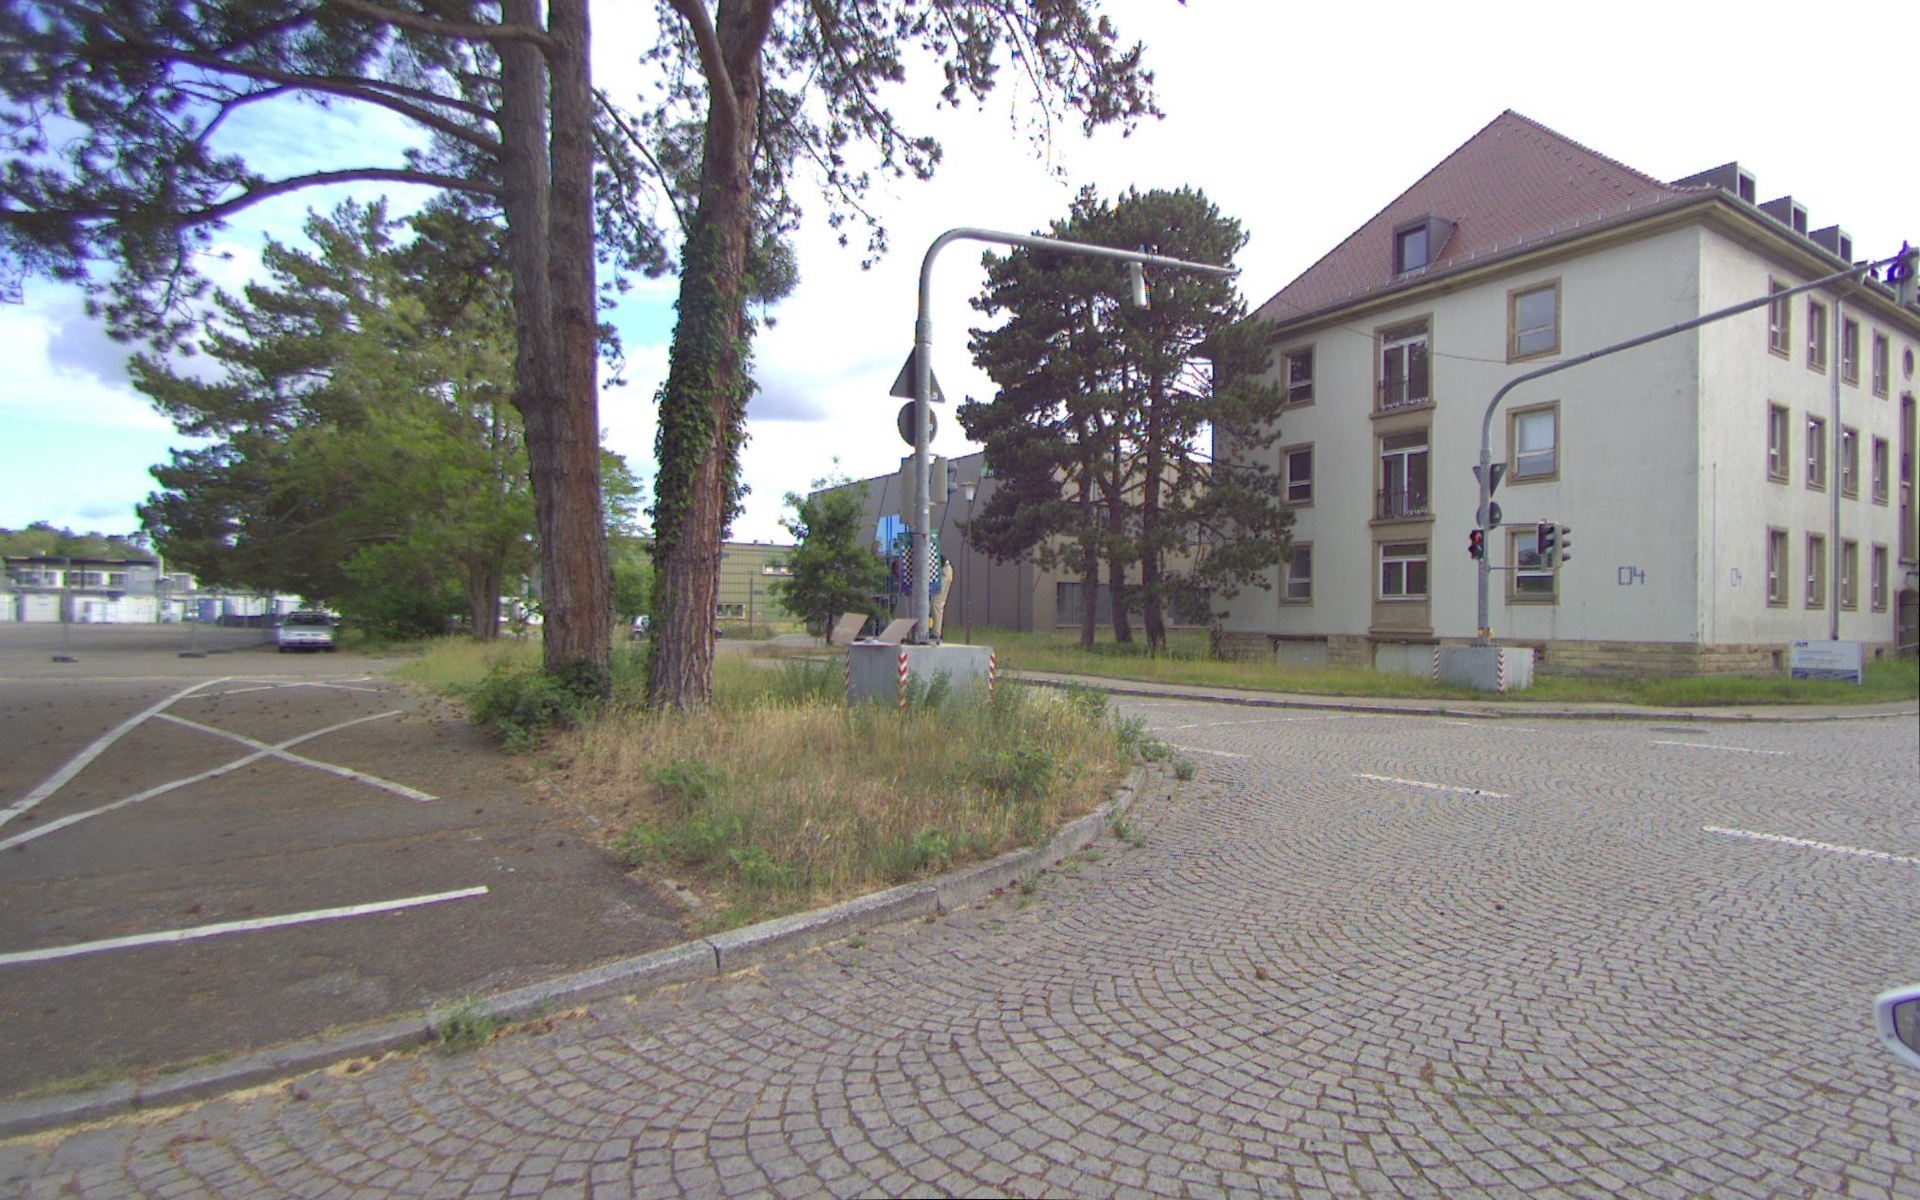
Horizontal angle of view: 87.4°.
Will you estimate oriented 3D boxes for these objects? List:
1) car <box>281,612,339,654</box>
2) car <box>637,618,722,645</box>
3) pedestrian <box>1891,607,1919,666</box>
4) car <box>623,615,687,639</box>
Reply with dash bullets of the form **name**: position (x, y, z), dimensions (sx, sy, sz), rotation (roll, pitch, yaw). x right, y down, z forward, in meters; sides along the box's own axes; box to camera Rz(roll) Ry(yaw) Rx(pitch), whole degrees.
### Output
- **car**: position (-23.651, 1.160, 36.498), dimensions (1.680, 1.410, 3.962), rotation (1, -1, -34)
- **car**: position (-16.417, 1.806, 58.855), dimensions (4.409, 1.449, 1.983), rotation (-1, 0, -32)
- **pedestrian**: position (33.144, 1.257, 34.758), dimensions (1.009, 2.040, 1.083), rotation (1, -1, -27)
- **car**: position (-19.886, 1.755, 65.412), dimensions (3.618, 1.449, 1.983), rotation (-1, 0, -32)
